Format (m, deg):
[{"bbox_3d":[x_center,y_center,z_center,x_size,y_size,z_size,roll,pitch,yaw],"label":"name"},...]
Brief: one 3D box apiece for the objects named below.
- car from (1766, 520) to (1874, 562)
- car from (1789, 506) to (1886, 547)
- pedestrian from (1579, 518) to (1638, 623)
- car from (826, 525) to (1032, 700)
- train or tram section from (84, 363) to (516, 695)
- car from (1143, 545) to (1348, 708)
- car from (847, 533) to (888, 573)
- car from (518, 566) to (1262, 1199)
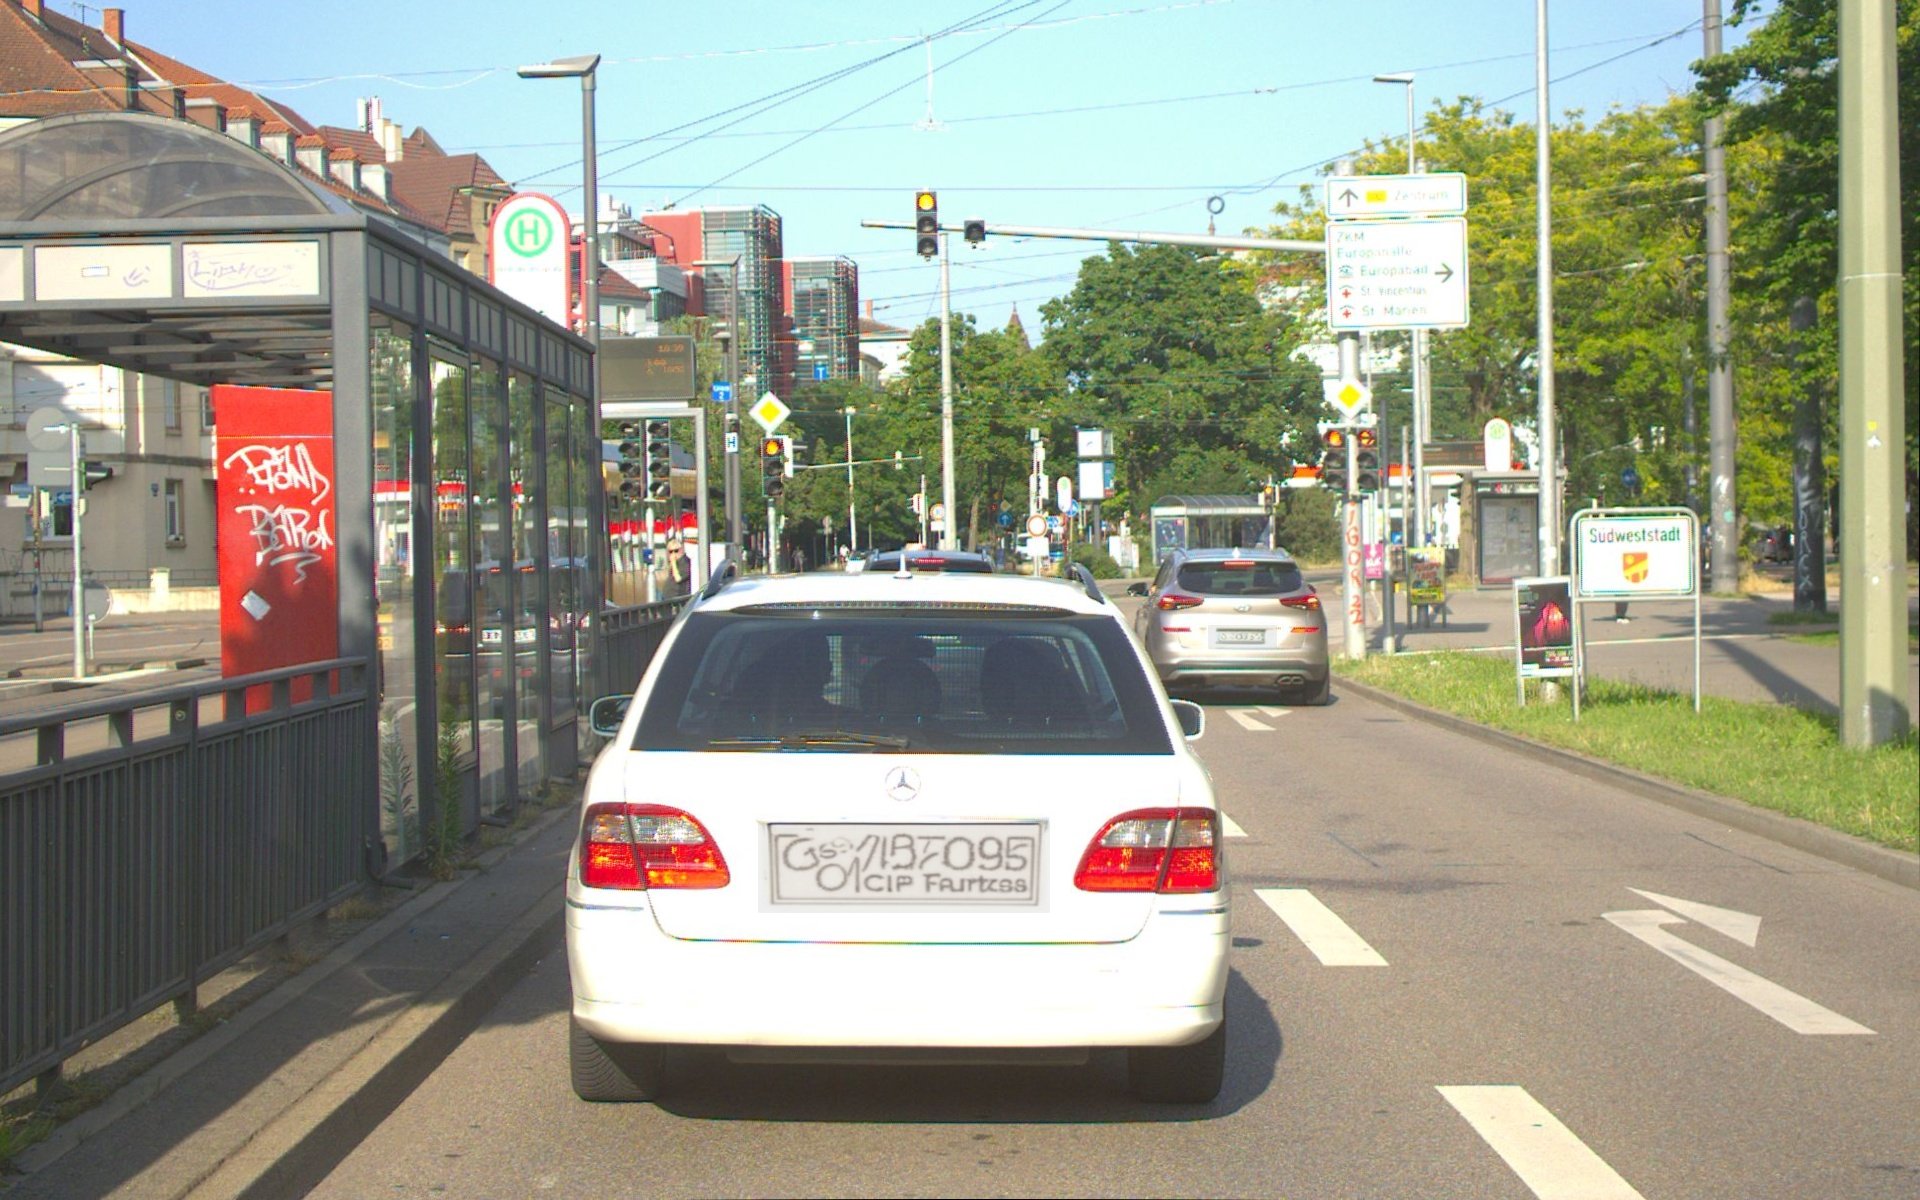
[{"bbox_3d":[35.765,-2.467,143.026,3.986,1.645,2.000,-2,1,-26],"label":"car"},{"bbox_3d":[37.942,-3.178,148.637,3.989,1.645,1.999,-1,1,14],"label":"car"},{"bbox_3d":[10.301,-0.473,54.659,0.887,1.646,0.745,0,1,8],"label":"pedestrian"},{"bbox_3d":[-0.260,0.079,35.235,1.787,1.684,4.000,0,1,4],"label":"car"},{"bbox_3d":[-7.771,-0.916,42.653,2.849,3.467,13.201,0,1,0],"label":"train or tram section"},{"bbox_3d":[2.993,0.237,36.372,2.033,1.600,4.000,0,1,4],"label":"car"},{"bbox_3d":[-4.794,-2.431,178.558,1.993,2.007,4.000,-1,1,-1],"label":"car"},{"bbox_3d":[-0.279,0.691,10.342,1.758,1.498,4.001,-2,1,-3],"label":"car"}]
